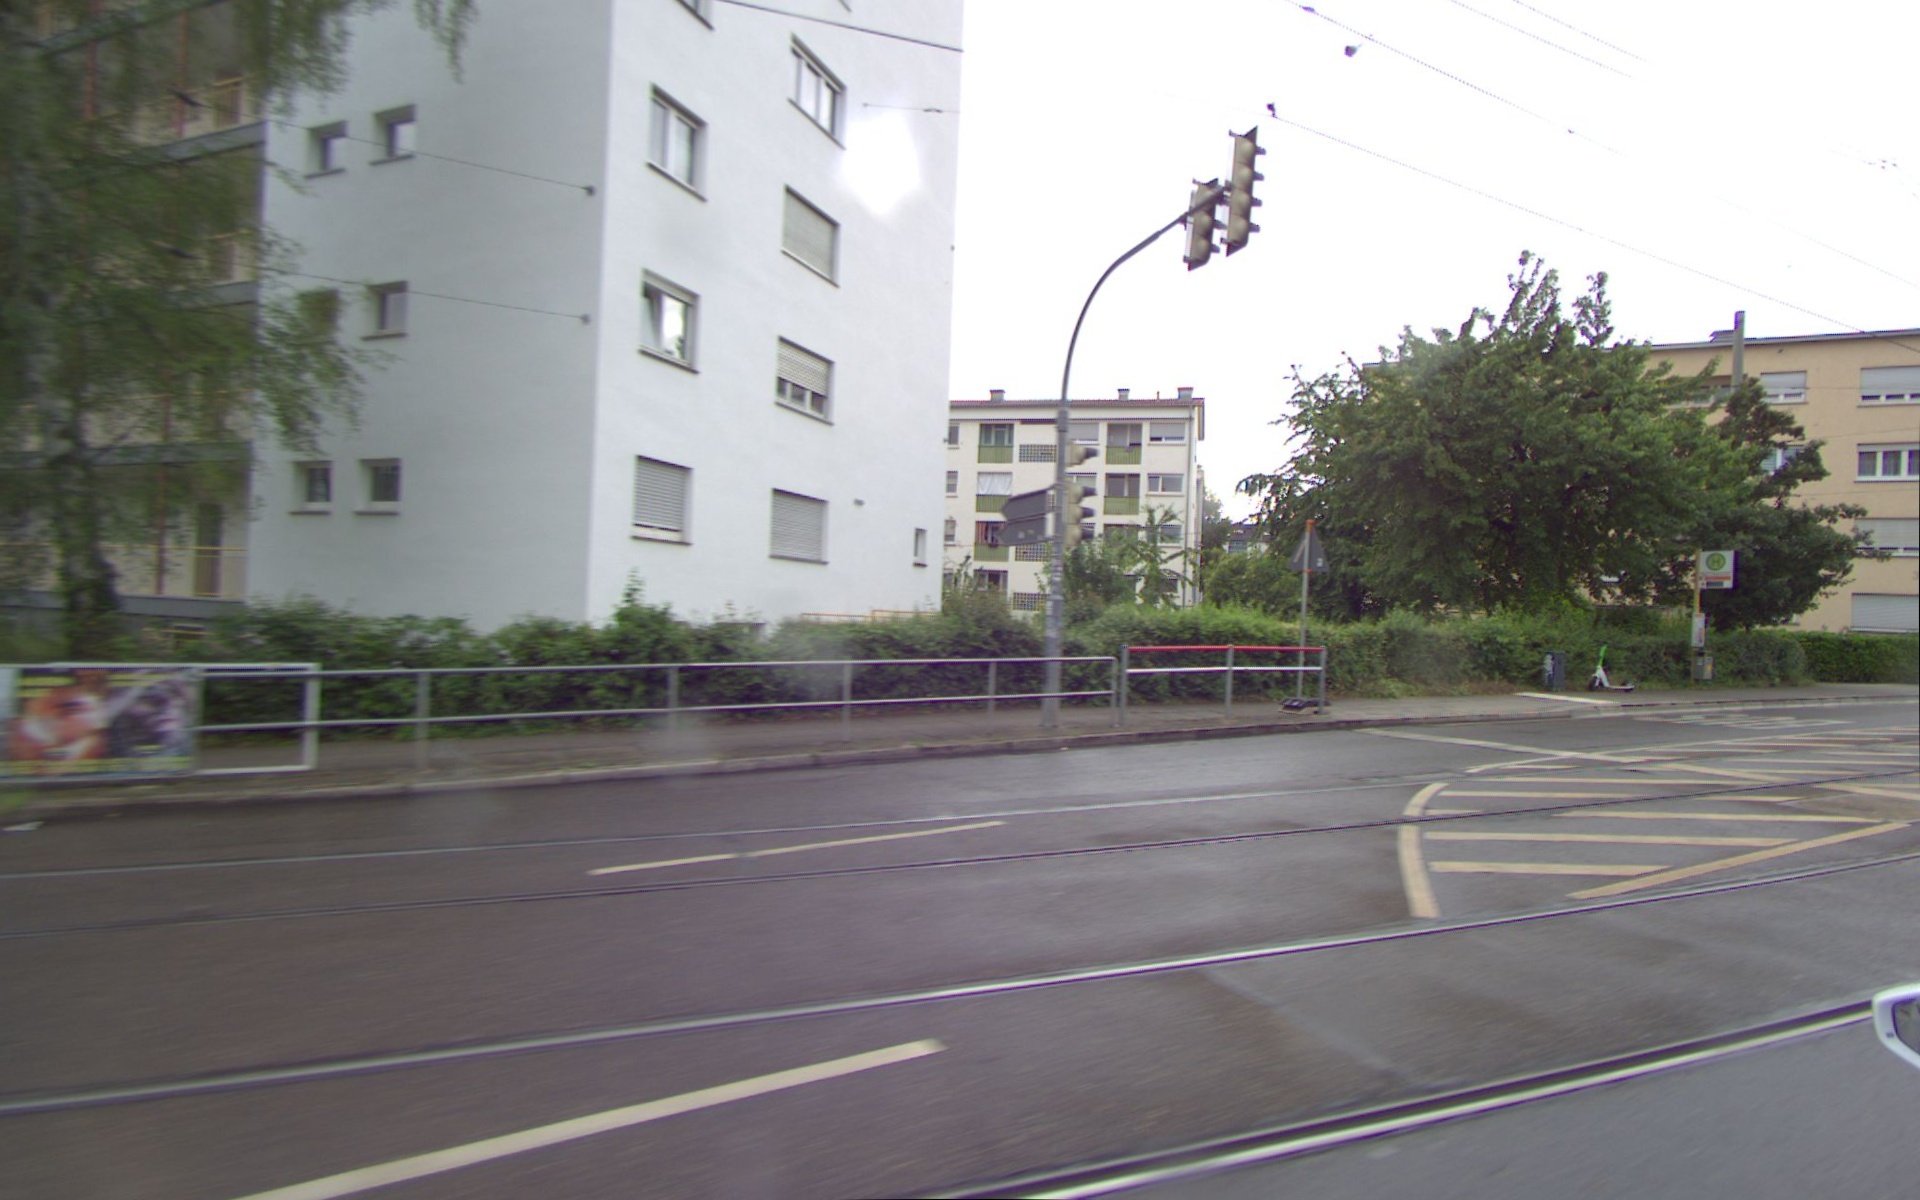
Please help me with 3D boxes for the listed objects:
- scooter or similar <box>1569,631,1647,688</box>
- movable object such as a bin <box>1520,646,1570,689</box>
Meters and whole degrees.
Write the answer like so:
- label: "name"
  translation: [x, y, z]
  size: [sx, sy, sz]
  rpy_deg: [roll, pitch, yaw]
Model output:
- label: "scooter or similar"
  translation: [14.936, 1.363, 23.140]
  size: [1.574, 1.200, 0.572]
  rpy_deg: [4, 0, -17]
- label: "movable object such as a bin"
  translation: [13.124, 1.524, 22.552]
  size: [0.753, 0.893, 0.682]
  rpy_deg: [4, 0, -35]
